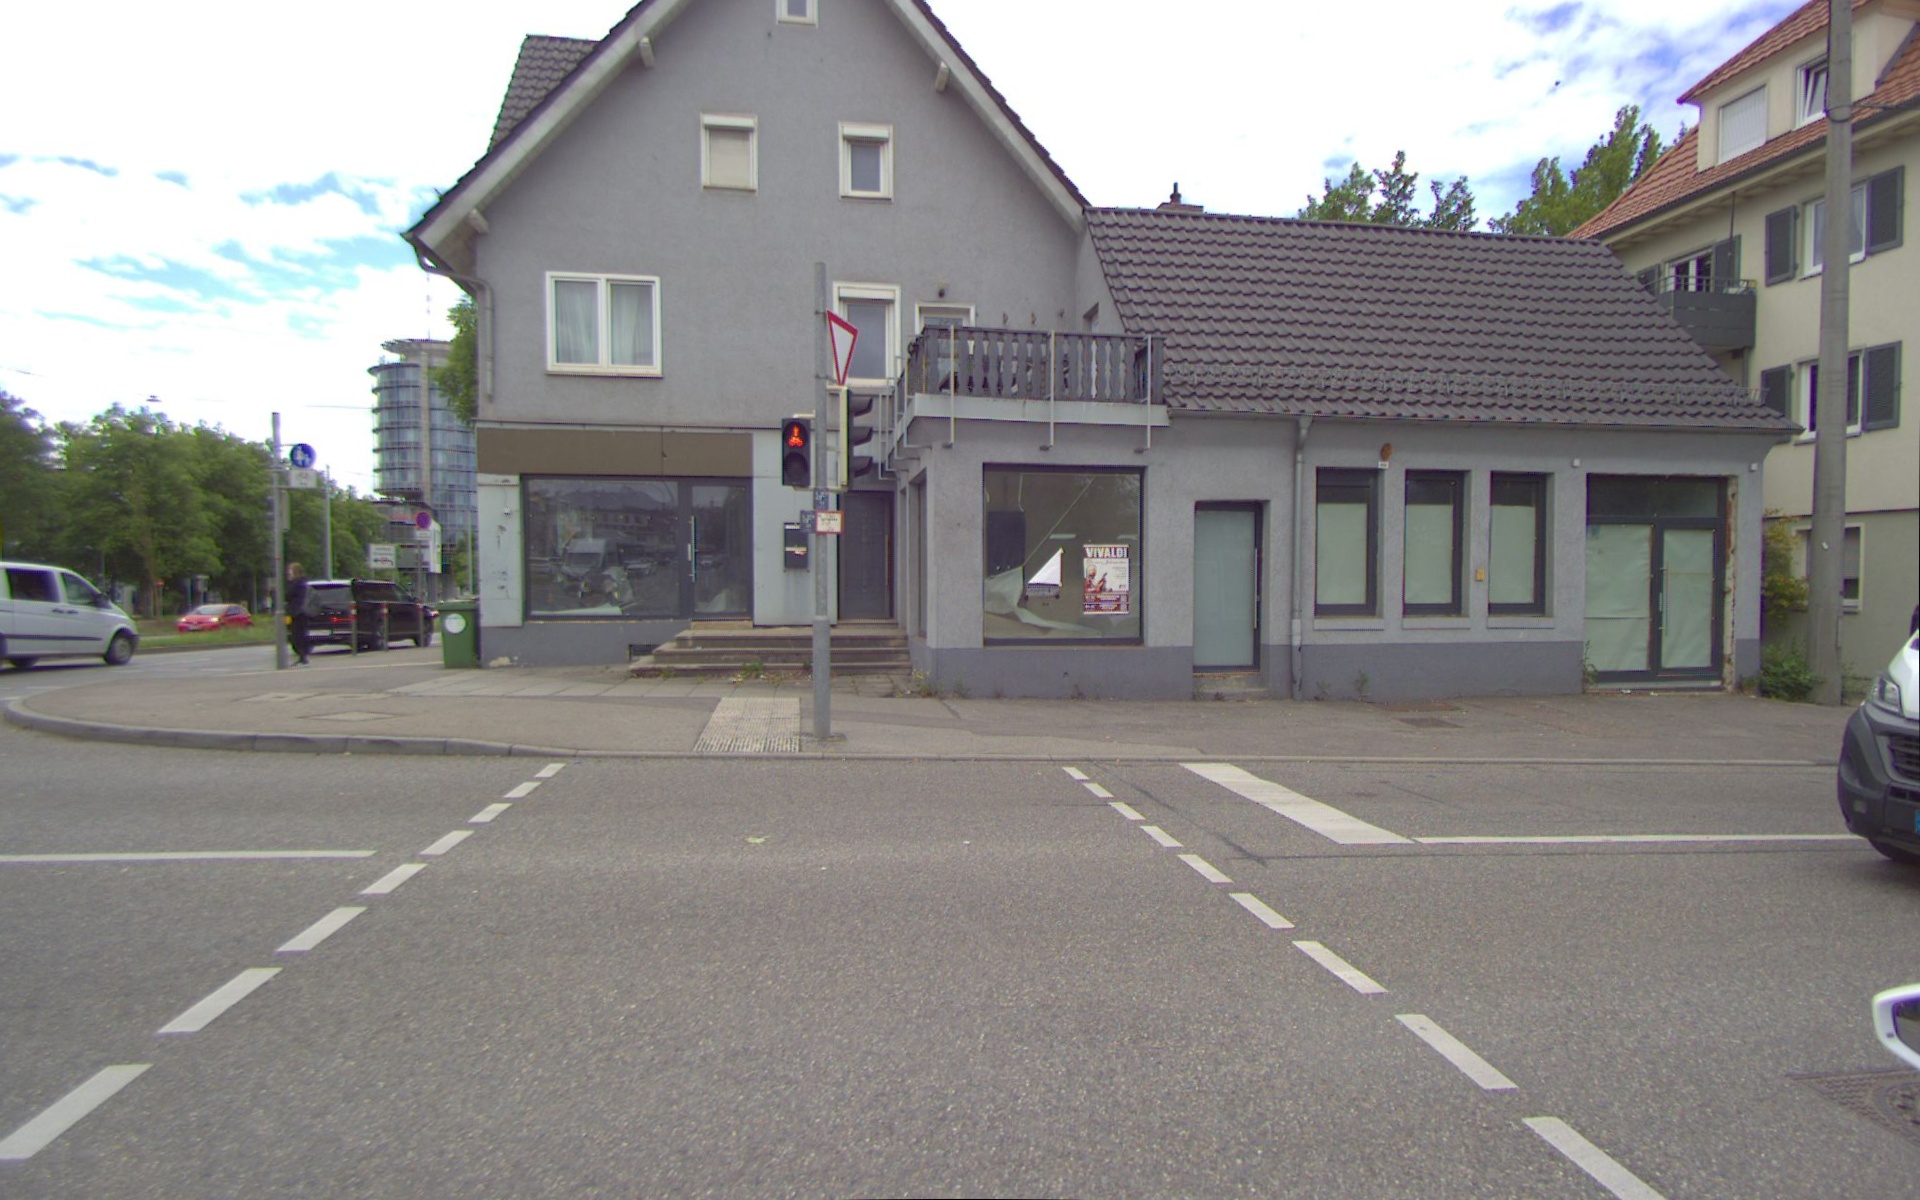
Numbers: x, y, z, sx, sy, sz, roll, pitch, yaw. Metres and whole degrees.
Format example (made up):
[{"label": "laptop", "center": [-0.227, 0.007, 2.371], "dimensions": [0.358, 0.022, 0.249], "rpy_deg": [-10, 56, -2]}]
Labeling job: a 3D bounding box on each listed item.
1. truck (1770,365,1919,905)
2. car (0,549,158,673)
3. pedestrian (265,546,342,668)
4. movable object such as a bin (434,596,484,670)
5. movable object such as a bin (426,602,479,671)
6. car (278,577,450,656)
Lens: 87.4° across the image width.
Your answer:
[{"label": "truck", "center": [8.002, 0.265, 5.386], "dimensions": [6.291, 2.736, 1.997], "rpy_deg": [2, -1, -9]}, {"label": "car", "center": [-16.902, 0.195, 17.757], "dimensions": [1.845, 2.041, 5.069], "rpy_deg": [-2, 1, -8]}, {"label": "pedestrian", "center": [-11.299, 0.118, 17.307], "dimensions": [0.759, 2.040, 0.877], "rpy_deg": [-1, 0, -4]}, {"label": "movable object such as a bin", "center": [-7.759, 0.503, 15.583], "dimensions": [0.589, 1.116, 0.571], "rpy_deg": [-1, 0, -16]}, {"label": "movable object such as a bin", "center": [-7.574, 0.532, 15.009], "dimensions": [0.589, 1.000, 0.571], "rpy_deg": [-1, 0, -16]}, {"label": "car", "center": [-14.714, 0.402, 25.147], "dimensions": [1.892, 1.775, 4.674], "rpy_deg": [0, 0, -6]}]
